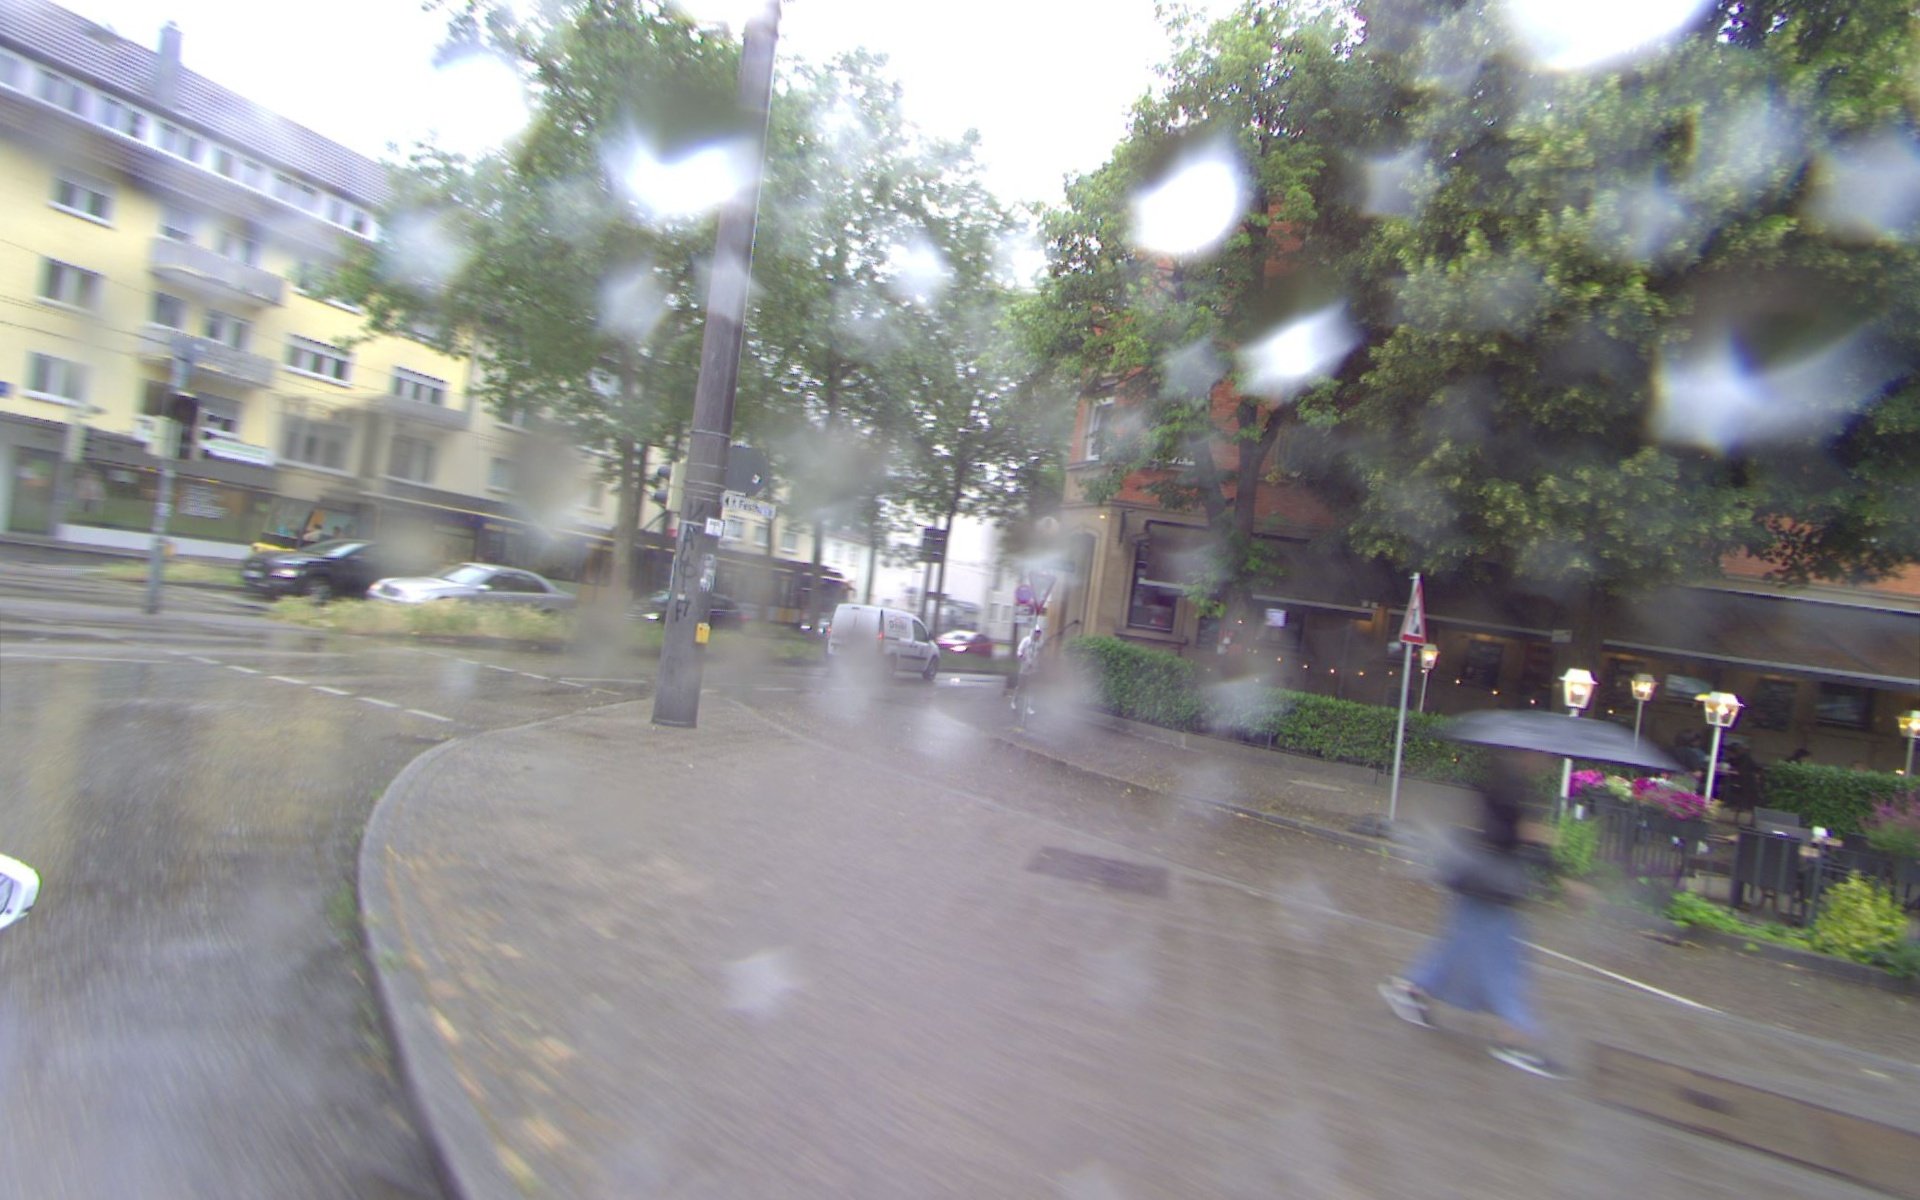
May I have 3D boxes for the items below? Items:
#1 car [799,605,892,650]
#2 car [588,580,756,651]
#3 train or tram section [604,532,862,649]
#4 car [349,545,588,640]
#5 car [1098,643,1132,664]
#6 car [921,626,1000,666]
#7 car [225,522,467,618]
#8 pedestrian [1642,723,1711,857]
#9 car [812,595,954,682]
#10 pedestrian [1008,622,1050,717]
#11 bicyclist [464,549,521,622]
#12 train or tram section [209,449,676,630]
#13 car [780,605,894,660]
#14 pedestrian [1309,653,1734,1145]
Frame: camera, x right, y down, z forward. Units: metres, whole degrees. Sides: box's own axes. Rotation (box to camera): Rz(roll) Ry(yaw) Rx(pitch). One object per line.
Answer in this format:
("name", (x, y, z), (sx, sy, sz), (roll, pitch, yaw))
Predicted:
("car", (-4.683, 1.180, 41.791), (1.716, 1.414, 4.128), (8, -1, 26))
("car", (-8.083, 0.504, 28.684), (1.829, 1.503, 4.638), (8, -1, 26))
("train or tram section", (-9.767, -0.090, 46.647), (3.060, 3.598, 14.680), (7, -2, 25))
("car", (-10.626, -0.090, 22.145), (1.709, 1.506, 4.499), (8, -1, 26))
("car", (13.359, 4.602, 86.489), (1.713, 1.359, 3.754), (11, 0, 25))
("car", (0.075, 2.097, 45.142), (1.716, 1.414, 4.231), (8, -1, 26))
("car", (-13.612, -0.598, 22.632), (1.845, 1.519, 4.285), (8, -1, 21))
("pedestrian", (9.554, 2.517, 13.428), (0.381, 1.665, 0.550), (8, 1, 14))
("car", (-1.941, 1.087, 26.779), (1.875, 1.817, 4.116), (8, -2, 23))
("pedestrian", (1.390, 1.393, 20.500), (0.556, 1.797, 1.204), (5, 2, -3))
("bicyclist", (-12.224, -0.374, 26.317), (0.701, 1.735, 0.890), (7, -2, 23))
("train or tram section", (-15.907, -1.497, 33.567), (3.061, 3.598, 14.577), (7, -2, 27))
("car", (-4.255, 1.191, 35.581), (1.716, 1.497, 4.430), (8, -1, 26))
("pedestrian", (2.365, 1.171, 4.296), (1.094, 1.686, 0.990), (9, -2, -29))
